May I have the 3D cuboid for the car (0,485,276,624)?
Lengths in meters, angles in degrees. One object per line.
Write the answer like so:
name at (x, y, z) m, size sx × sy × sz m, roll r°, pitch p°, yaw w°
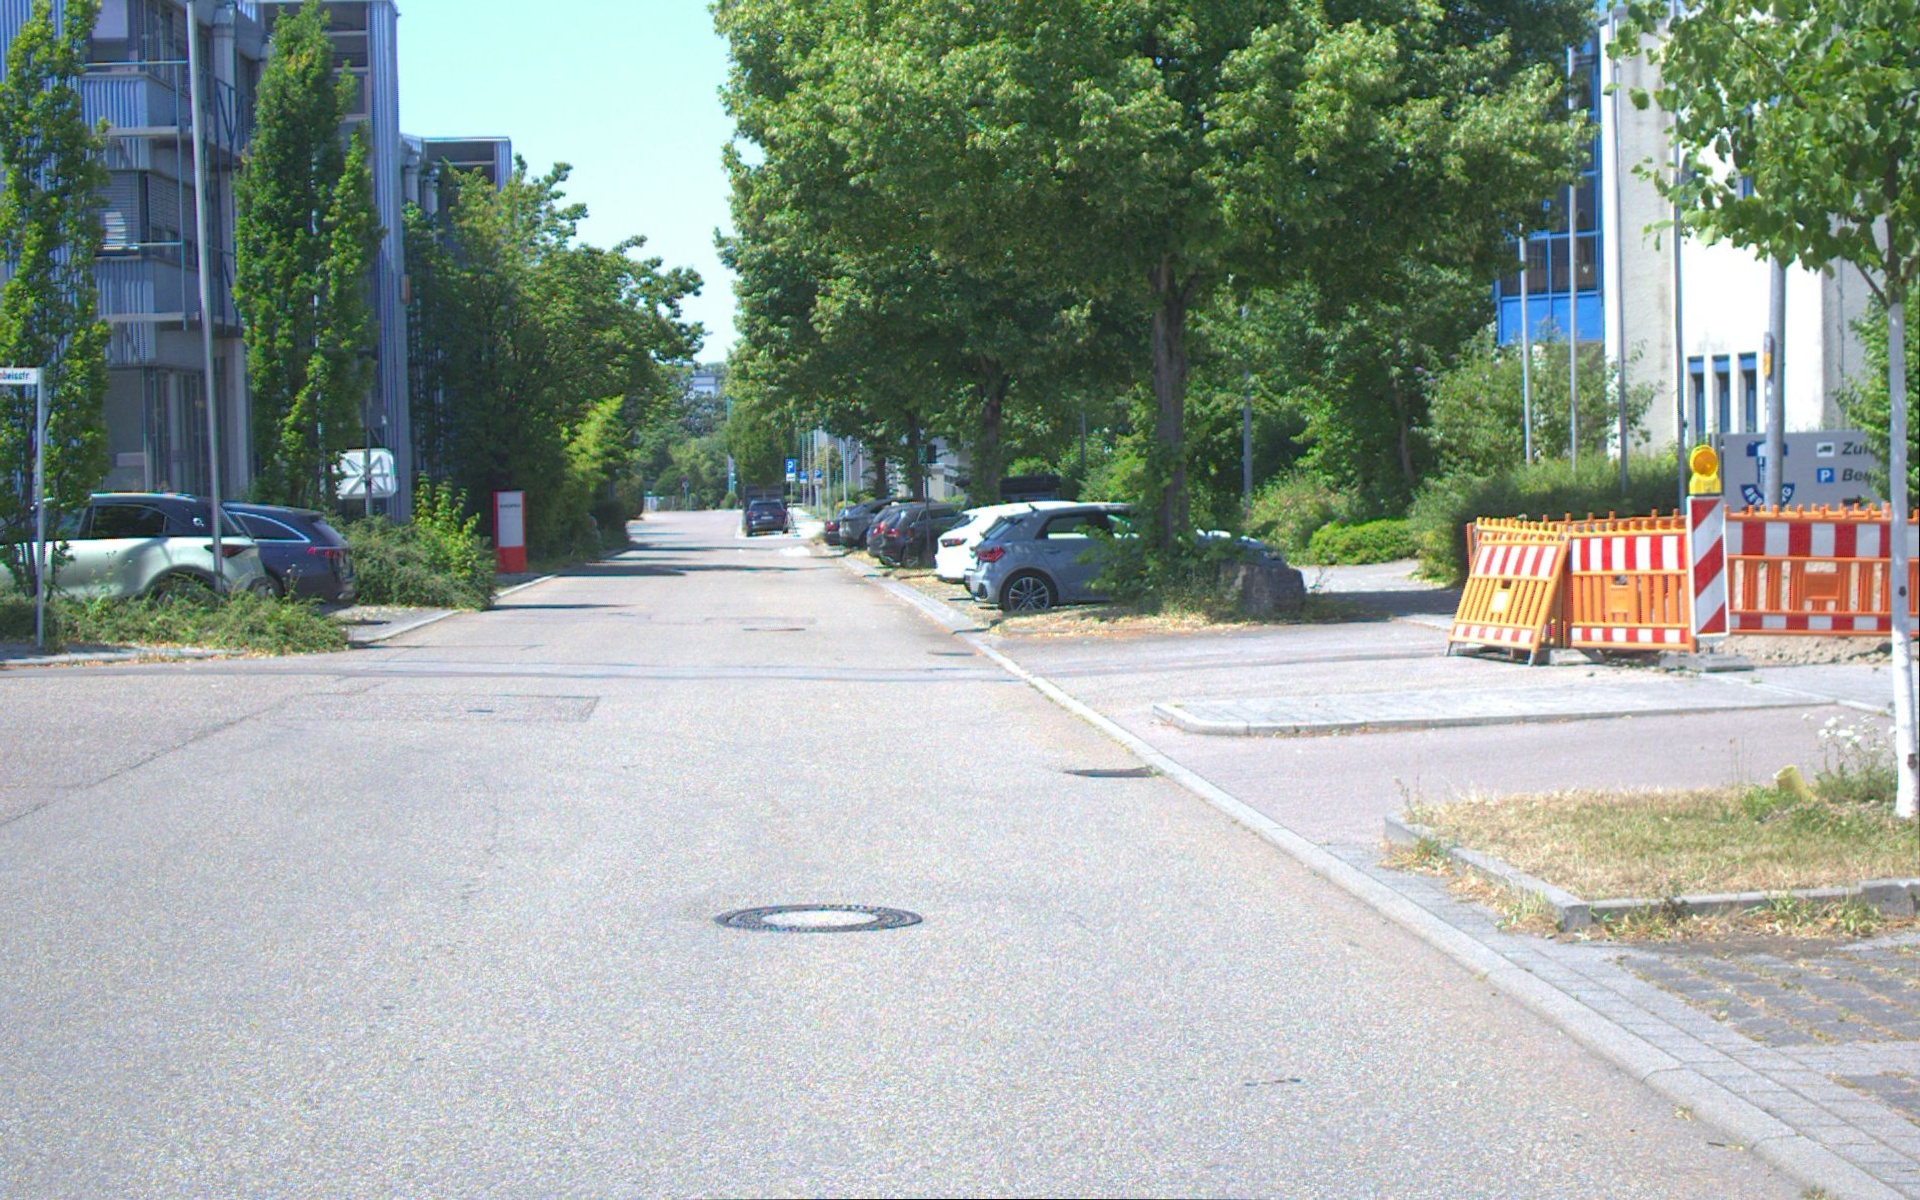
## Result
car at (-9.663, -0.509, 37.831) m, size 4.045 × 1.489 × 1.729 m, roll 0°, pitch 1°, yaw -6°

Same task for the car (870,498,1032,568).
car at (-0.226, -1.585, 80.848) m, size 3.721 × 1.621 × 1.814 m, roll 0°, pitch 1°, yaw -3°

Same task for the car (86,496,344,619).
car at (-9.202, -0.530, 42.607) m, size 3.057 × 1.473 × 1.293 m, roll 0°, pitch 1°, yaw -10°

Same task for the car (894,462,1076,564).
car at (0.510, -1.823, 72.372) m, size 3.721 × 2.103 × 1.814 m, roll 0°, pitch 1°, yaw -3°

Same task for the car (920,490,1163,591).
car at (1.244, -0.931, 53.230) m, size 3.516 × 1.350 × 1.538 m, roll -3°, pitch 2°, yaw -7°

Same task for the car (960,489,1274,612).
car at (1.962, -0.640, 43.585) m, size 3.678 × 1.350 × 1.646 m, roll -3°, pitch 2°, yaw -7°

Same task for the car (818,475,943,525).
car at (-2.663, -3.349, 114.994) m, size 3.930 × 1.572 × 1.768 m, roll 0°, pitch 5°, yaw -11°

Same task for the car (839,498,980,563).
car at (-1.515, -2.083, 102.560) m, size 3.930 × 1.828 × 1.768 m, roll 0°, pitch 5°, yaw -11°

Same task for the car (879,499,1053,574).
car at (0.112, -1.393, 75.727) m, size 3.721 × 1.621 × 1.814 m, roll 0°, pitch 1°, yaw -3°

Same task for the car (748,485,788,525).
car at (-8.605, -4.247, 154.109) m, size 1.761 × 1.749 × 3.945 m, roll 0°, pitch 1°, yaw -3°
